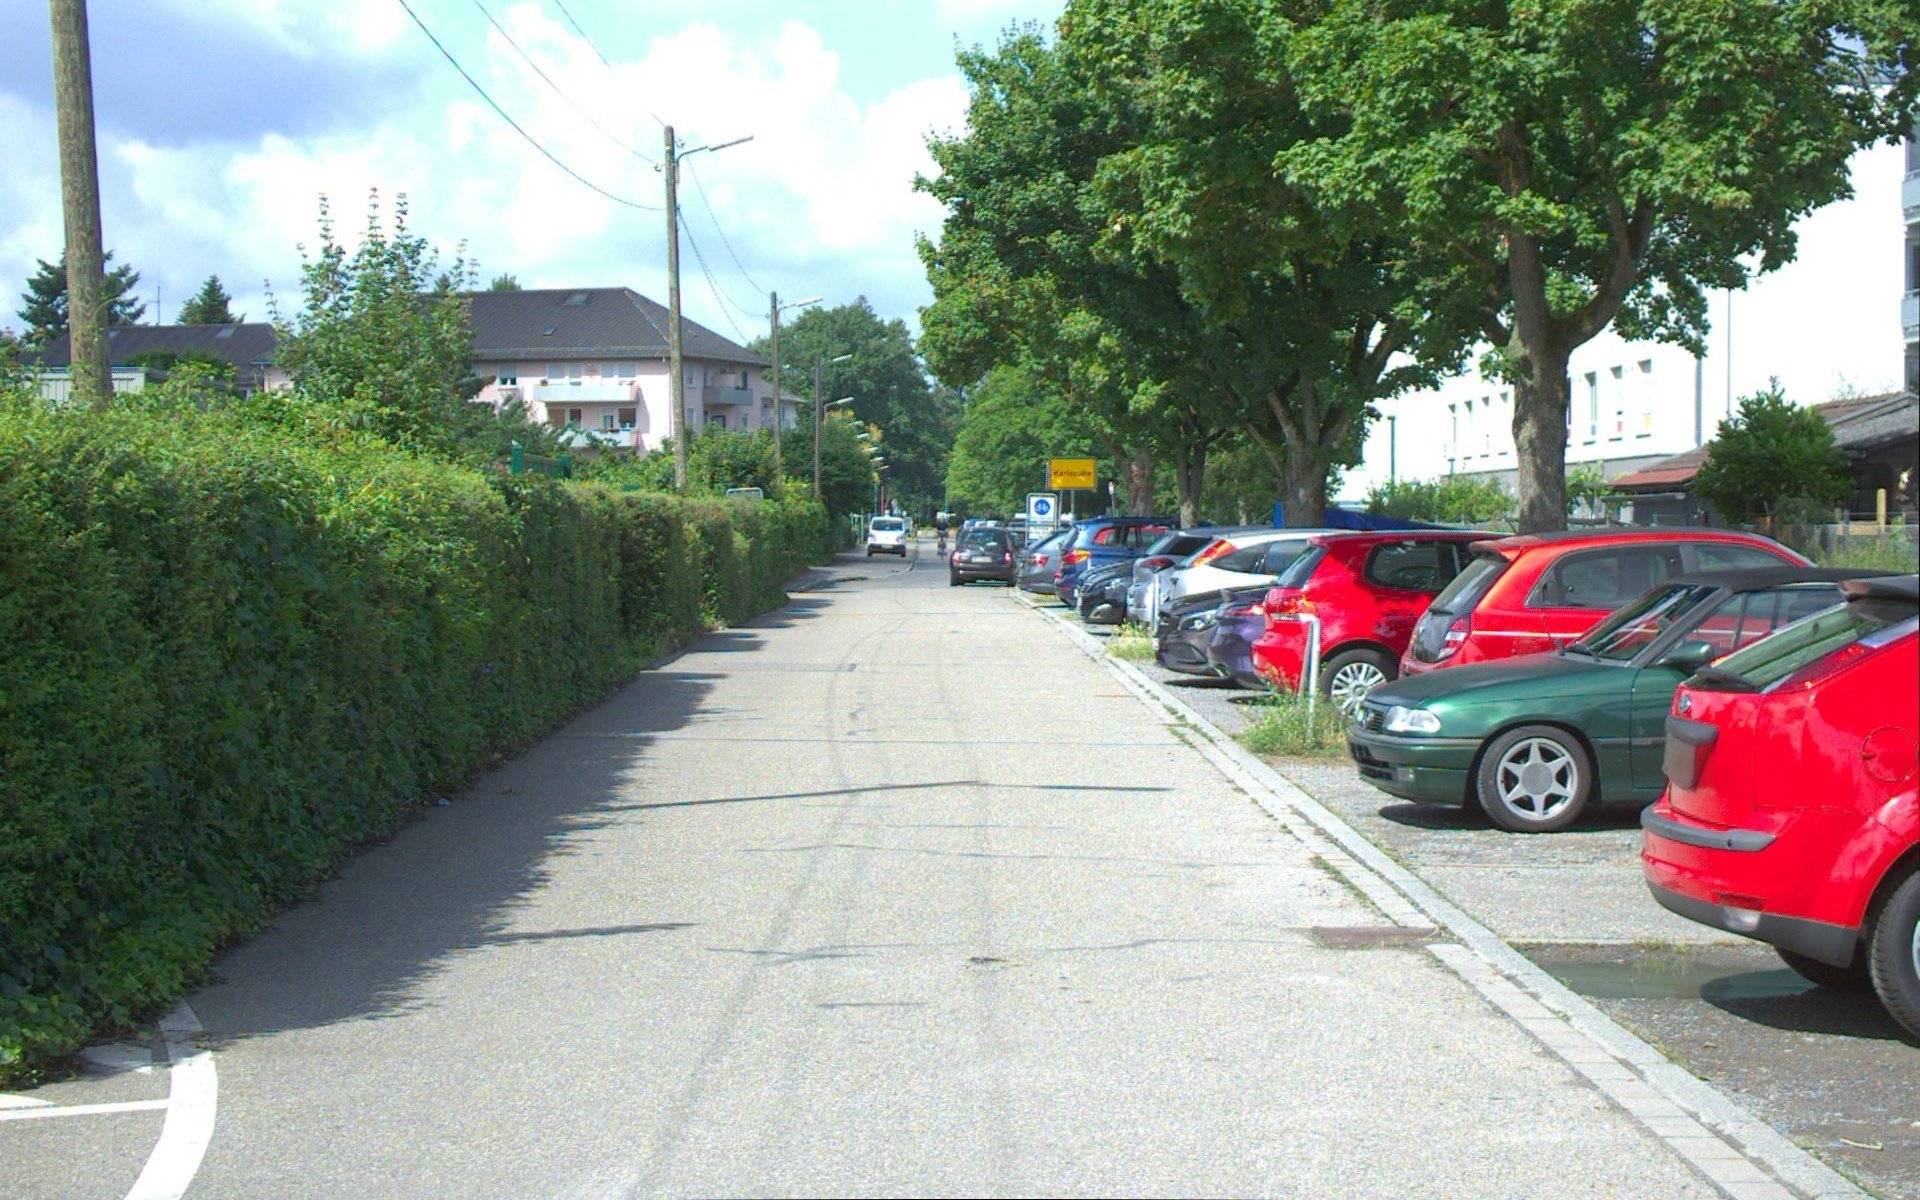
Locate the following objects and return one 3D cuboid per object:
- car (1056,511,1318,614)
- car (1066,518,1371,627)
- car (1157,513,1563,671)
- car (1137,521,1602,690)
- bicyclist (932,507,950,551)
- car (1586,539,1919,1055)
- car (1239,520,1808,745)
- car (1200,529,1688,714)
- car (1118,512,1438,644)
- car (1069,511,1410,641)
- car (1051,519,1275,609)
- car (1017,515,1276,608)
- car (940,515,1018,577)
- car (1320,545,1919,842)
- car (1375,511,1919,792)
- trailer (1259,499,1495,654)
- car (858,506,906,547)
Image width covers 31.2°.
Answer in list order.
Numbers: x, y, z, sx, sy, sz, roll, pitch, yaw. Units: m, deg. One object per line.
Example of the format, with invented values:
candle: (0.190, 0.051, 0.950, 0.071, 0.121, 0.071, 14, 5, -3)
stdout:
car: (3.680, -0.626, 56.343, 4.154, 1.632, 1.879, 0, 1, 0)
car: (3.812, -0.418, 51.268, 4.335, 1.487, 1.976, 1, 1, -1)
car: (4.130, -0.096, 36.036, 4.065, 1.506, 1.958, 1, 1, 3)
car: (3.806, 0.034, 32.431, 4.065, 1.450, 1.870, 1, 1, -2)
bicyclist: (-0.797, -3.000, 145.780, 0.659, 1.846, 1.043, -1, 1, 2)
car: (4.279, 0.609, 11.006, 4.183, 1.499, 1.878, 1, 1, 1)
car: (4.132, 0.218, 25.751, 3.987, 1.514, 1.854, 2, 1, 3)
car: (4.042, 0.162, 29.265, 3.910, 1.419, 1.958, 1, 1, 3)
car: (3.946, -0.283, 43.116, 3.723, 1.534, 1.850, 1, 1, -3)
car: (3.667, -0.326, 45.699, 4.302, 1.588, 2.000, 1, 1, -1)
car: (3.546, -0.641, 60.529, 3.809, 1.527, 1.762, 0, 1, 0)
car: (3.377, -0.712, 62.870, 4.548, 1.573, 1.809, 1, 1, -1)
car: (0.502, -1.385, 87.746, 1.663, 1.501, 4.000, 2, 1, 4)
car: (4.193, 0.474, 18.228, 4.238, 1.423, 1.909, 1, 1, -4)
car: (4.556, 0.296, 20.950, 3.764, 1.568, 1.870, 1, 1, -1)
trailer: (4.853, -0.290, 40.228, 2.449, 1.714, 1.518, 1, 2, -4)
car: (-3.512, -3.343, 156.316, 1.903, 1.808, 4.000, 1, 1, 2)
